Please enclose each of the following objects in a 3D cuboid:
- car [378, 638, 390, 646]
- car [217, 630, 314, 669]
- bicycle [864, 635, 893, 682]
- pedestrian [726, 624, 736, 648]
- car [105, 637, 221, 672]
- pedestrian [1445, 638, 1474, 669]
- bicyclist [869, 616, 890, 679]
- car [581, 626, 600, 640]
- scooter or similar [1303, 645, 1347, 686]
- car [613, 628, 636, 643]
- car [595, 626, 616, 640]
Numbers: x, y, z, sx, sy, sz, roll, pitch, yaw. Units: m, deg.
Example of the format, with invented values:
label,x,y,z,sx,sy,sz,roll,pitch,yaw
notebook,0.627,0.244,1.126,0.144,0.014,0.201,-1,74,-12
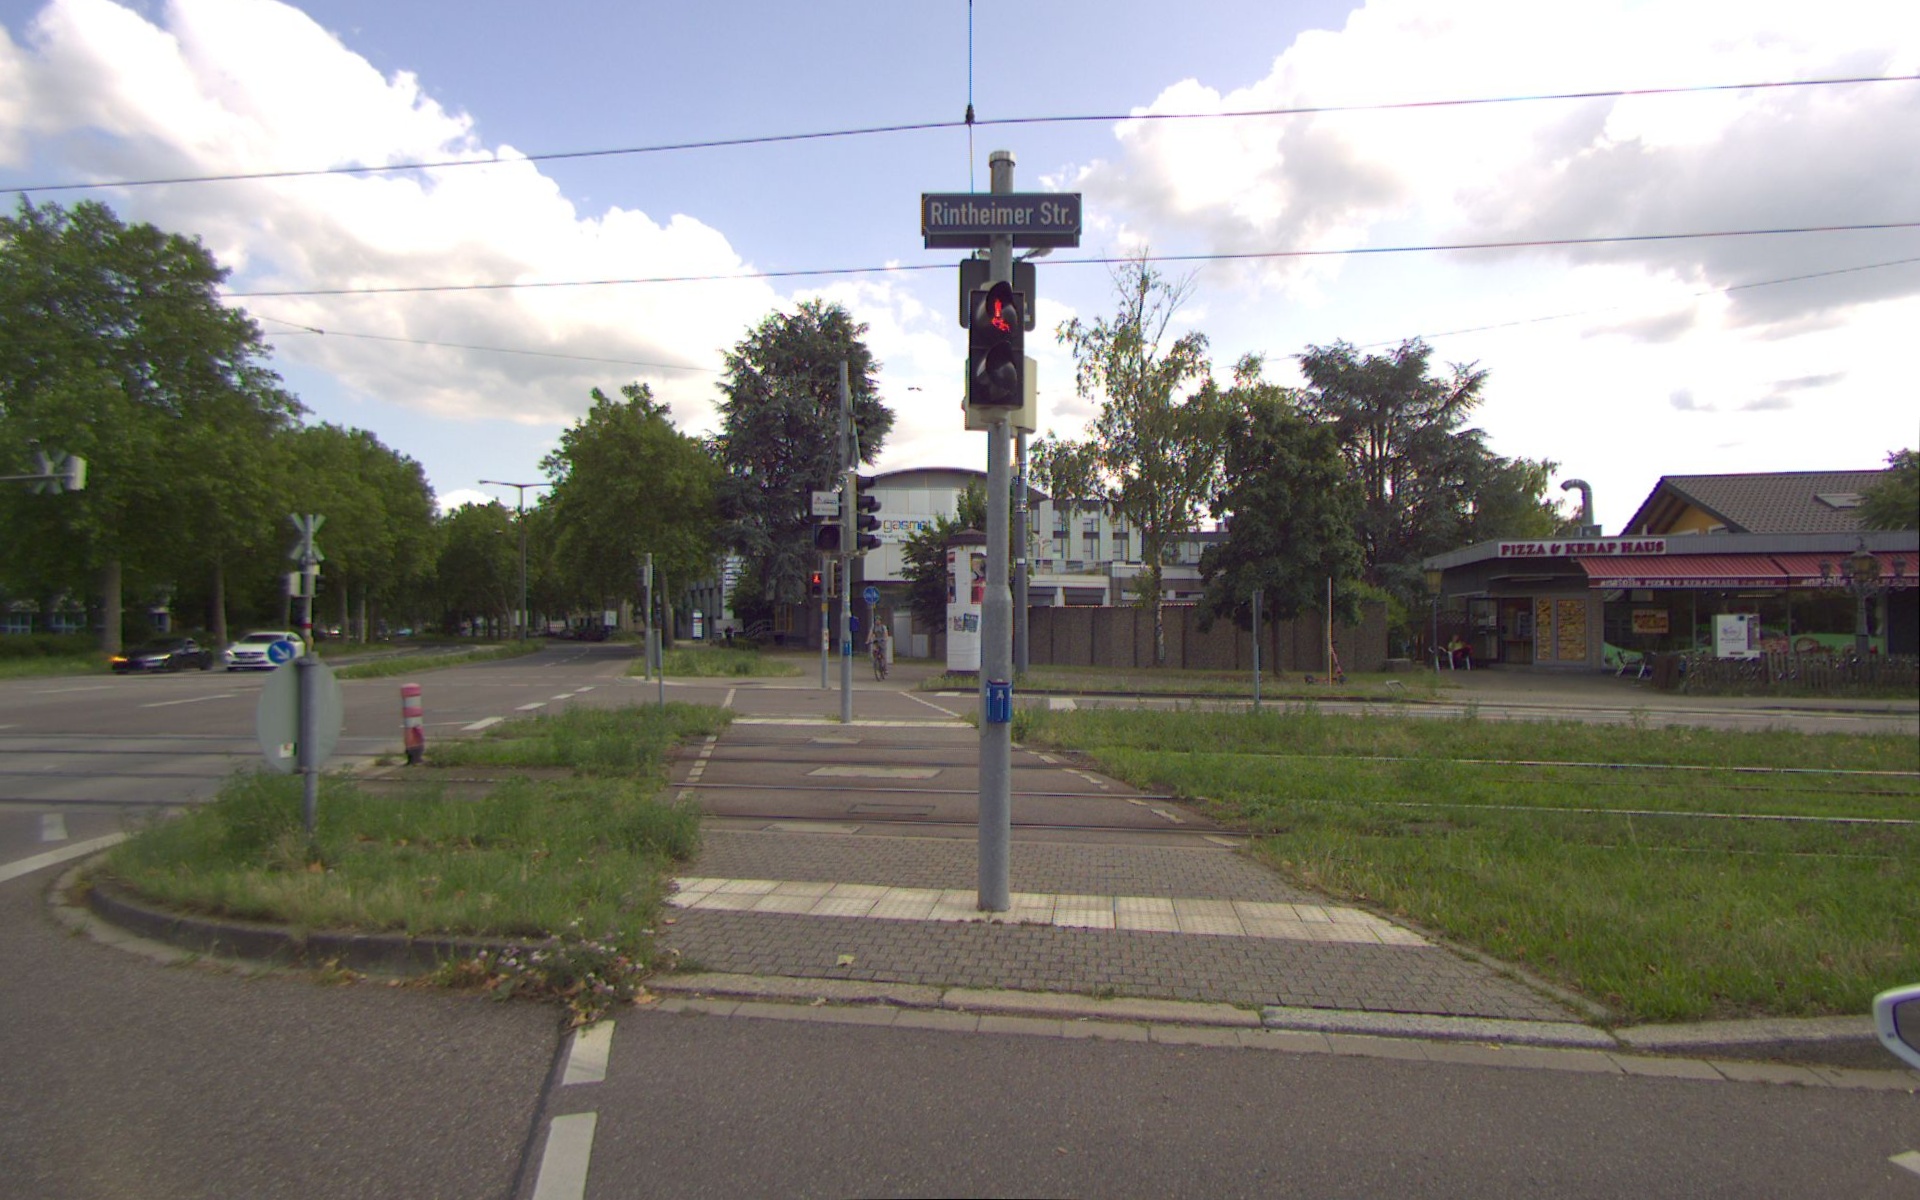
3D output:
label,x,y,z,sx,sy,sz,roll,pitch,yaw
car,-92.743,6.752,161.671,1.620,1.207,3.680,1,-2,-29
car,-26.397,1.844,38.340,1.801,1.382,4.124,1,-2,-16
bicycle,-2.394,1.712,29.767,0.530,1.252,1.953,0,0,5
pedestrian,-15.015,2.355,65.810,0.612,1.590,0.557,0,1,-15
car,-29.208,1.977,36.957,1.609,1.207,3.704,0,-2,-7
pedestrian,15.954,1.709,32.096,0.713,0.941,0.777,1,1,18
bicyclist,-2.382,1.394,29.825,0.530,1.834,0.545,0,1,5
car,-47.848,4.268,129.961,1.973,1.595,3.974,0,1,-26
scooter or similar,10.157,1.802,27.940,1.084,1.073,0.401,1,1,29
car,-37.681,3.967,112.686,1.973,1.595,3.974,0,1,-26
car,-43.366,4.026,122.875,1.973,1.595,3.974,0,1,-26
